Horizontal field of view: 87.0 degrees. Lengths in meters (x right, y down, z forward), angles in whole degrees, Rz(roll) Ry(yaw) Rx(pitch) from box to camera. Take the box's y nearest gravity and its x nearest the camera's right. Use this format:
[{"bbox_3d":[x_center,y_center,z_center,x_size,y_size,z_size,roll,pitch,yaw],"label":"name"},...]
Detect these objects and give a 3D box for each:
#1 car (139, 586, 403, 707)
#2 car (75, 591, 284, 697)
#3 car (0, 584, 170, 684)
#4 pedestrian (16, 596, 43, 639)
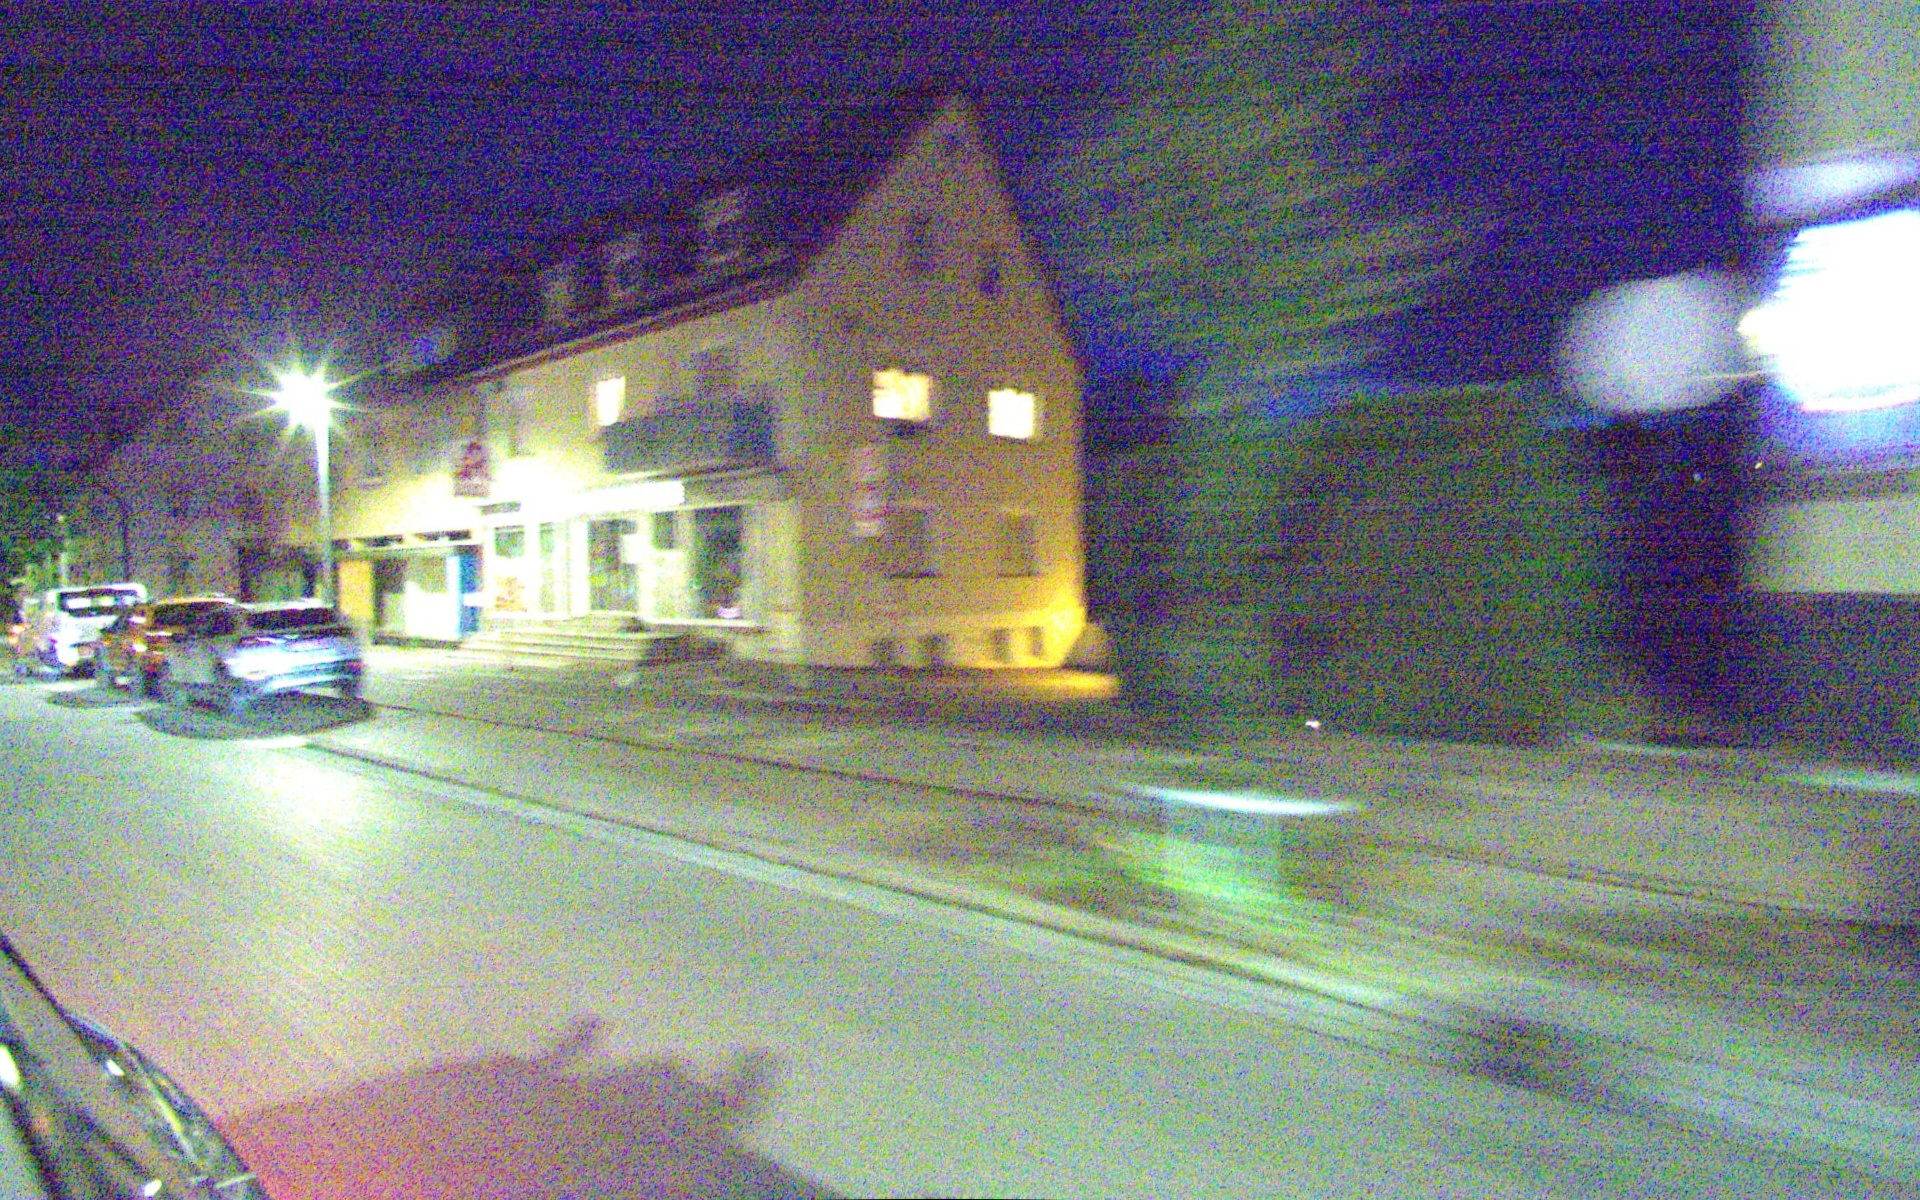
[{"bbox_3d":[-10.661,0.613,15.562,4.471,1.559,2.096,0,2,38],"label":"car"},{"bbox_3d":[-14.523,0.759,18.768,4.164,1.683,2.096,-1,1,39],"label":"car"},{"bbox_3d":[-19.868,0.718,22.831,4.882,1.961,2.096,-1,1,39],"label":"car"},{"bbox_3d":[-42.359,0.797,46.068,0.829,1.918,0.737,-1,2,40],"label":"pedestrian"}]
